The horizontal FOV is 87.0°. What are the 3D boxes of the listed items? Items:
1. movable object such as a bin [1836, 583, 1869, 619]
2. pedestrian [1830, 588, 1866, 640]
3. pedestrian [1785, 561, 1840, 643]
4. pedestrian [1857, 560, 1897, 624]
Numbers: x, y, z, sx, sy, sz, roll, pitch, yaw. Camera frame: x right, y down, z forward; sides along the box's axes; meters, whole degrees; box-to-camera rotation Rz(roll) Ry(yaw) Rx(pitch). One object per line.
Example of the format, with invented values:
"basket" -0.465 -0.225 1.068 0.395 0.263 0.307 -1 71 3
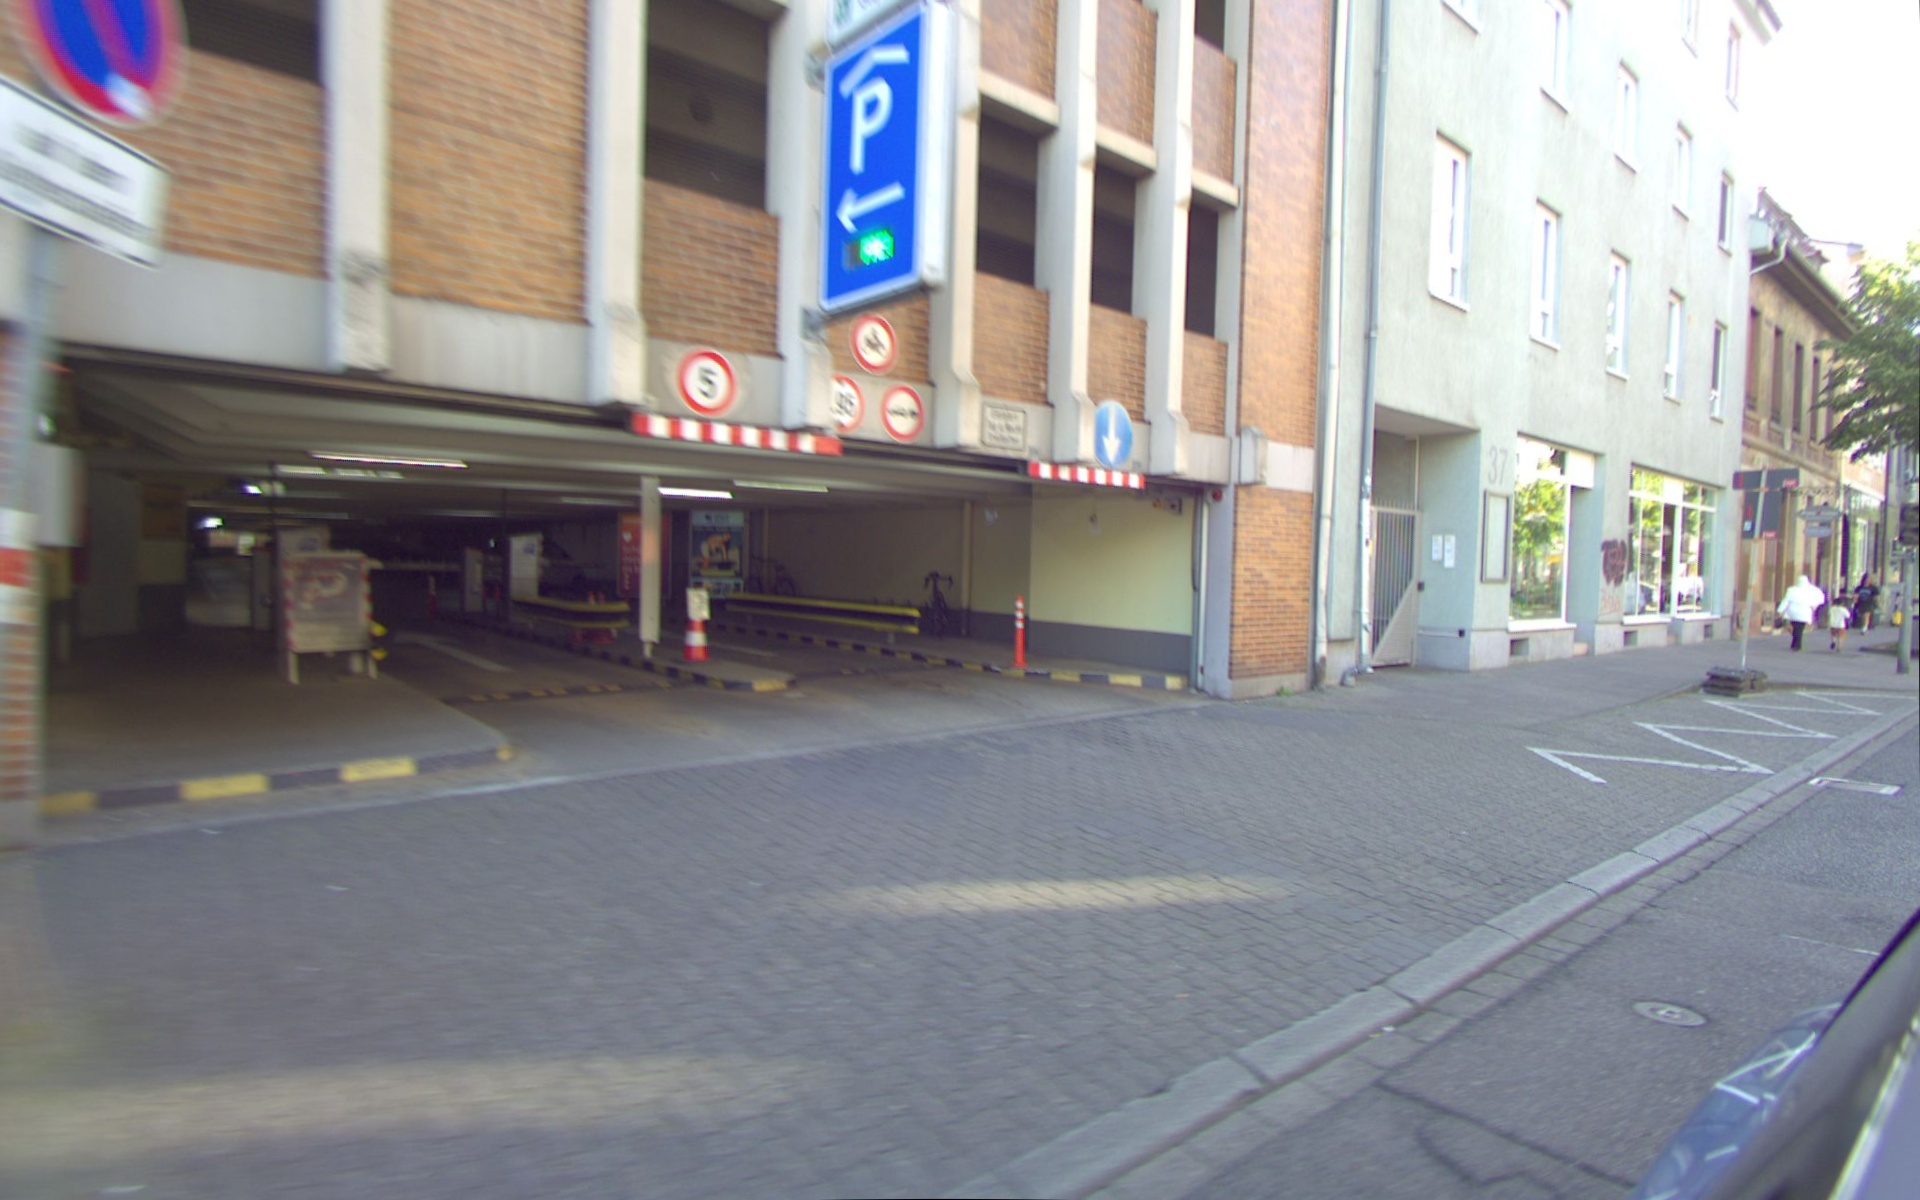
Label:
"movable object such as a bin" 27.702 0.030 31.410 0.709 1.052 0.590 0 5 -39
"pedestrian" 18.771 0.290 21.386 0.727 1.045 0.394 -1 6 -42
"pedestrian" 17.309 0.019 20.537 1.003 1.577 0.582 -1 6 -42
"pedestrian" 26.476 -0.240 29.228 0.757 1.786 0.625 0 5 -39
